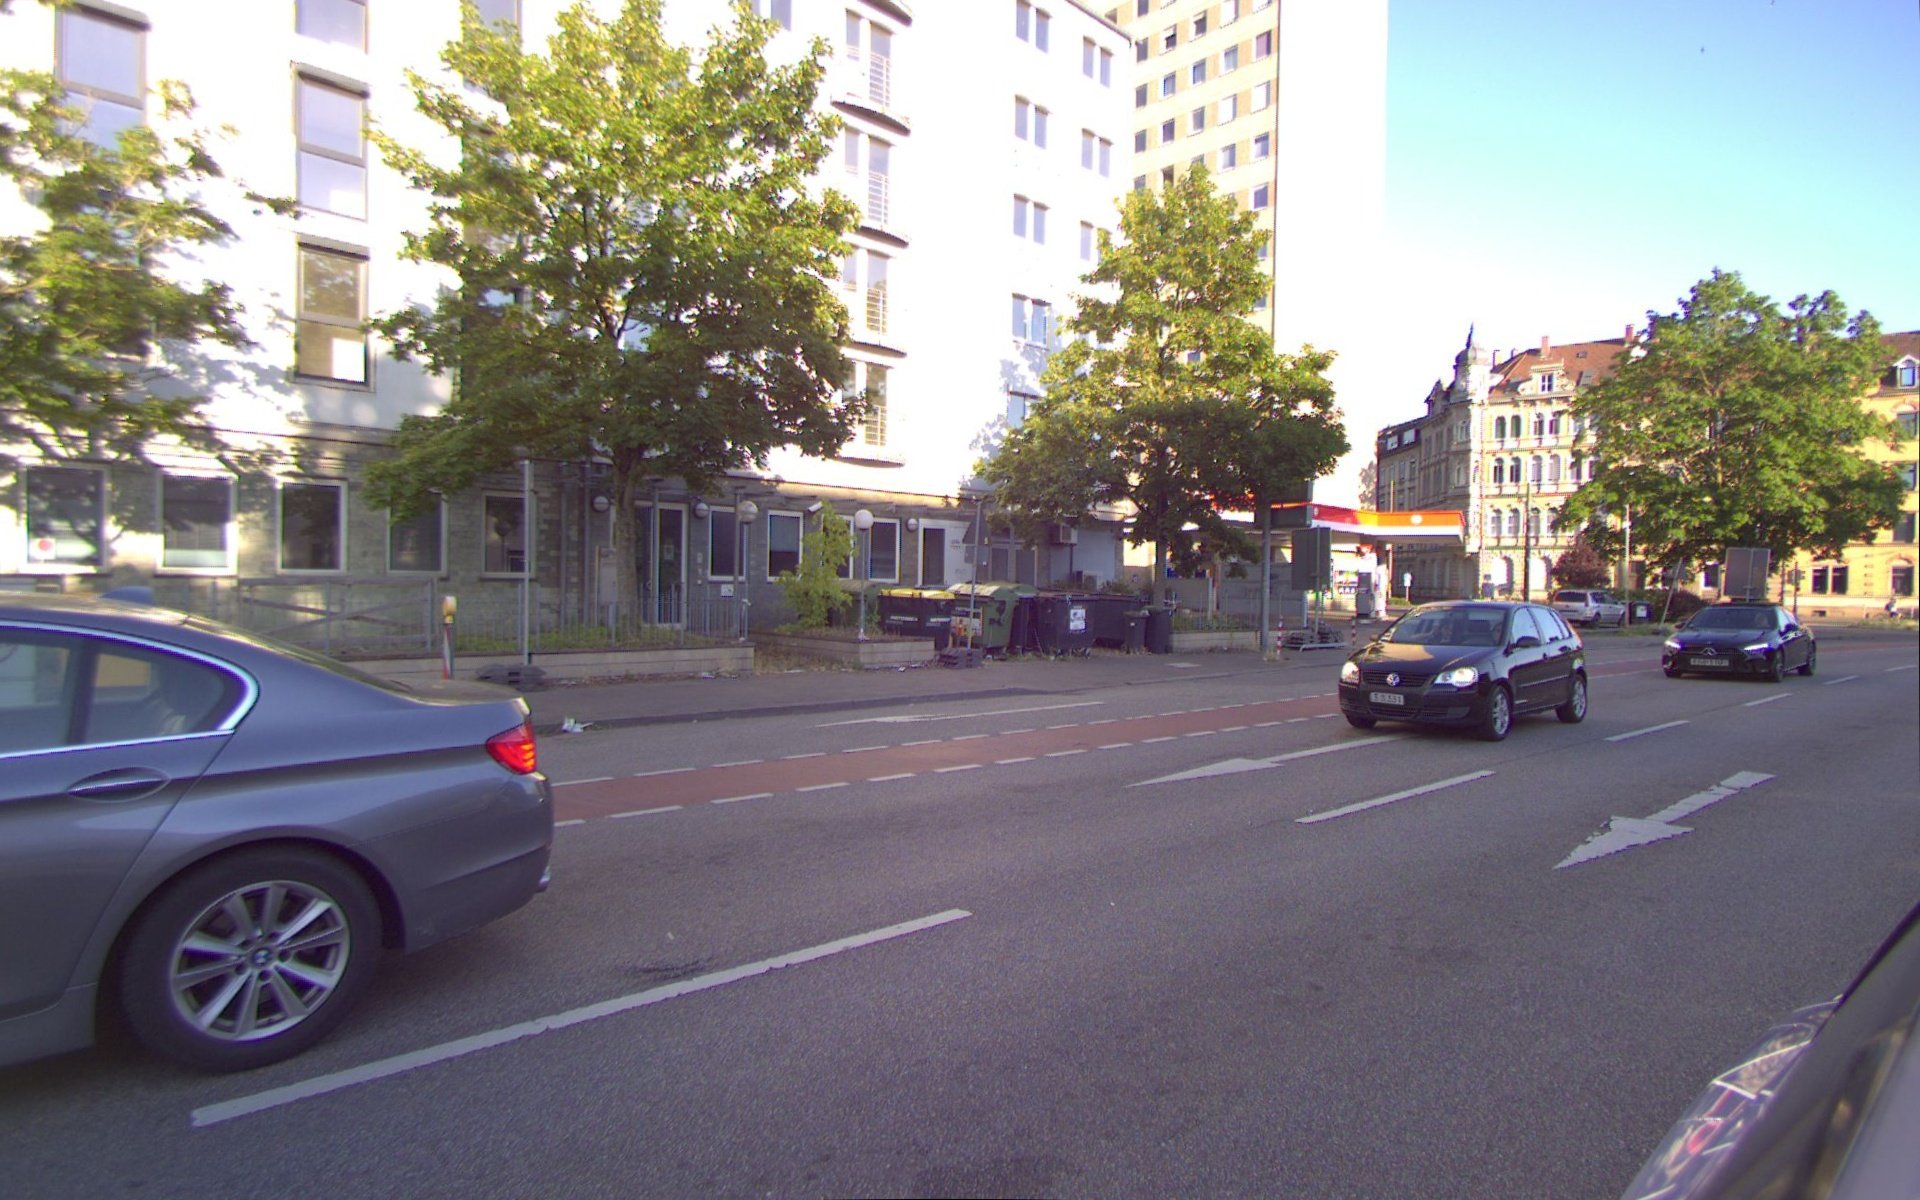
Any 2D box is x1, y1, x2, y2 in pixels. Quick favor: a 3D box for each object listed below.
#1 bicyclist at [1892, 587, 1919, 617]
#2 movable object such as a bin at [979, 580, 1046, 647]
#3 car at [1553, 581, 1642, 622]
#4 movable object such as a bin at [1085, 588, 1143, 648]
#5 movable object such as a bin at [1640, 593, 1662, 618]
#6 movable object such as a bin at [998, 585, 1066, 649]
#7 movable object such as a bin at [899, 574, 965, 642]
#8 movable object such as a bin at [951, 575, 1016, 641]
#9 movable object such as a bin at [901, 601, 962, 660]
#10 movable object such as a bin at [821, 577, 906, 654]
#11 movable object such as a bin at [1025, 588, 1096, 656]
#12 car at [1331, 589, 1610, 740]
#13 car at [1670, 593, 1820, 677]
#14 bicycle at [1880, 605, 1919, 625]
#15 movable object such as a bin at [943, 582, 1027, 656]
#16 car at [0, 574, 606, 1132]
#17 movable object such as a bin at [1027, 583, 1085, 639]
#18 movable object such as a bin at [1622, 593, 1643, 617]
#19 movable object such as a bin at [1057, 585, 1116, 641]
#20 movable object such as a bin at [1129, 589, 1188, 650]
[{"bbox_3d":[53.772,0.104,57.541,1.062,1.669,0.721,2,1,43],"label":"bicyclist"},{"bbox_3d":[1.203,0.295,23.192,1.143,1.467,1.033,0,1,-44],"label":"movable object such as a bin"},{"bbox_3d":[25.772,0.034,40.901,3.723,1.535,1.691,-1,2,-34],"label":"car"},{"bbox_3d":[3.604,0.391,23.672,0.938,1.345,0.954,0,1,-43],"label":"movable object such as a bin"},{"bbox_3d":[29.424,0.232,43.093,0.675,1.031,0.544,0,1,-36],"label":"movable object such as a bin"},{"bbox_3d":[1.562,0.351,22.062,1.143,1.345,0.954,0,1,-44],"label":"movable object such as a bin"},{"bbox_3d":[-0.662,0.169,23.622,1.143,1.517,1.033,0,1,-44],"label":"movable object such as a bin"},{"bbox_3d":[0.555,0.182,24.185,1.143,1.517,1.033,0,1,-44],"label":"movable object such as a bin"},{"bbox_3d":[-0.556,0.573,19.471,0.851,1.058,0.806,2,1,45],"label":"movable object such as a bin"},{"bbox_3d":[-1.944,0.286,20.403,1.088,1.479,1.348,0,1,-45],"label":"movable object such as a bin"},{"bbox_3d":[2.098,0.430,21.083,1.143,1.345,0.954,0,1,-44],"label":"movable object such as a bin"},{"bbox_3d":[6.004,0.620,11.724,3.804,1.467,1.583,0,0,-41],"label":"car"},{"bbox_3d":[15.386,0.600,19.766,3.978,1.467,1.729,0,0,-43],"label":"car"},{"bbox_3d":[53.654,0.848,57.541,1.920,1.072,0.444,2,1,43],"label":"bicycle"},{"bbox_3d":[0.511,0.362,20.818,1.088,1.441,1.348,0,1,-45],"label":"movable object such as a bin"},{"bbox_3d":[-3.608,0.660,2.886,4.588,1.467,1.817,0,0,-43],"label":"car"},{"bbox_3d":[2.403,0.261,25.346,1.080,1.345,0.954,0,1,-44],"label":"movable object such as a bin"},{"bbox_3d":[29.110,0.217,43.779,0.675,1.031,0.544,0,1,-36],"label":"movable object such as a bin"},{"bbox_3d":[3.082,0.291,24.617,1.080,1.299,0.954,0,1,-44],"label":"movable object such as a bin"},{"bbox_3d":[4.542,0.422,23.175,0.938,1.345,0.954,0,1,-43],"label":"movable object such as a bin"}]
